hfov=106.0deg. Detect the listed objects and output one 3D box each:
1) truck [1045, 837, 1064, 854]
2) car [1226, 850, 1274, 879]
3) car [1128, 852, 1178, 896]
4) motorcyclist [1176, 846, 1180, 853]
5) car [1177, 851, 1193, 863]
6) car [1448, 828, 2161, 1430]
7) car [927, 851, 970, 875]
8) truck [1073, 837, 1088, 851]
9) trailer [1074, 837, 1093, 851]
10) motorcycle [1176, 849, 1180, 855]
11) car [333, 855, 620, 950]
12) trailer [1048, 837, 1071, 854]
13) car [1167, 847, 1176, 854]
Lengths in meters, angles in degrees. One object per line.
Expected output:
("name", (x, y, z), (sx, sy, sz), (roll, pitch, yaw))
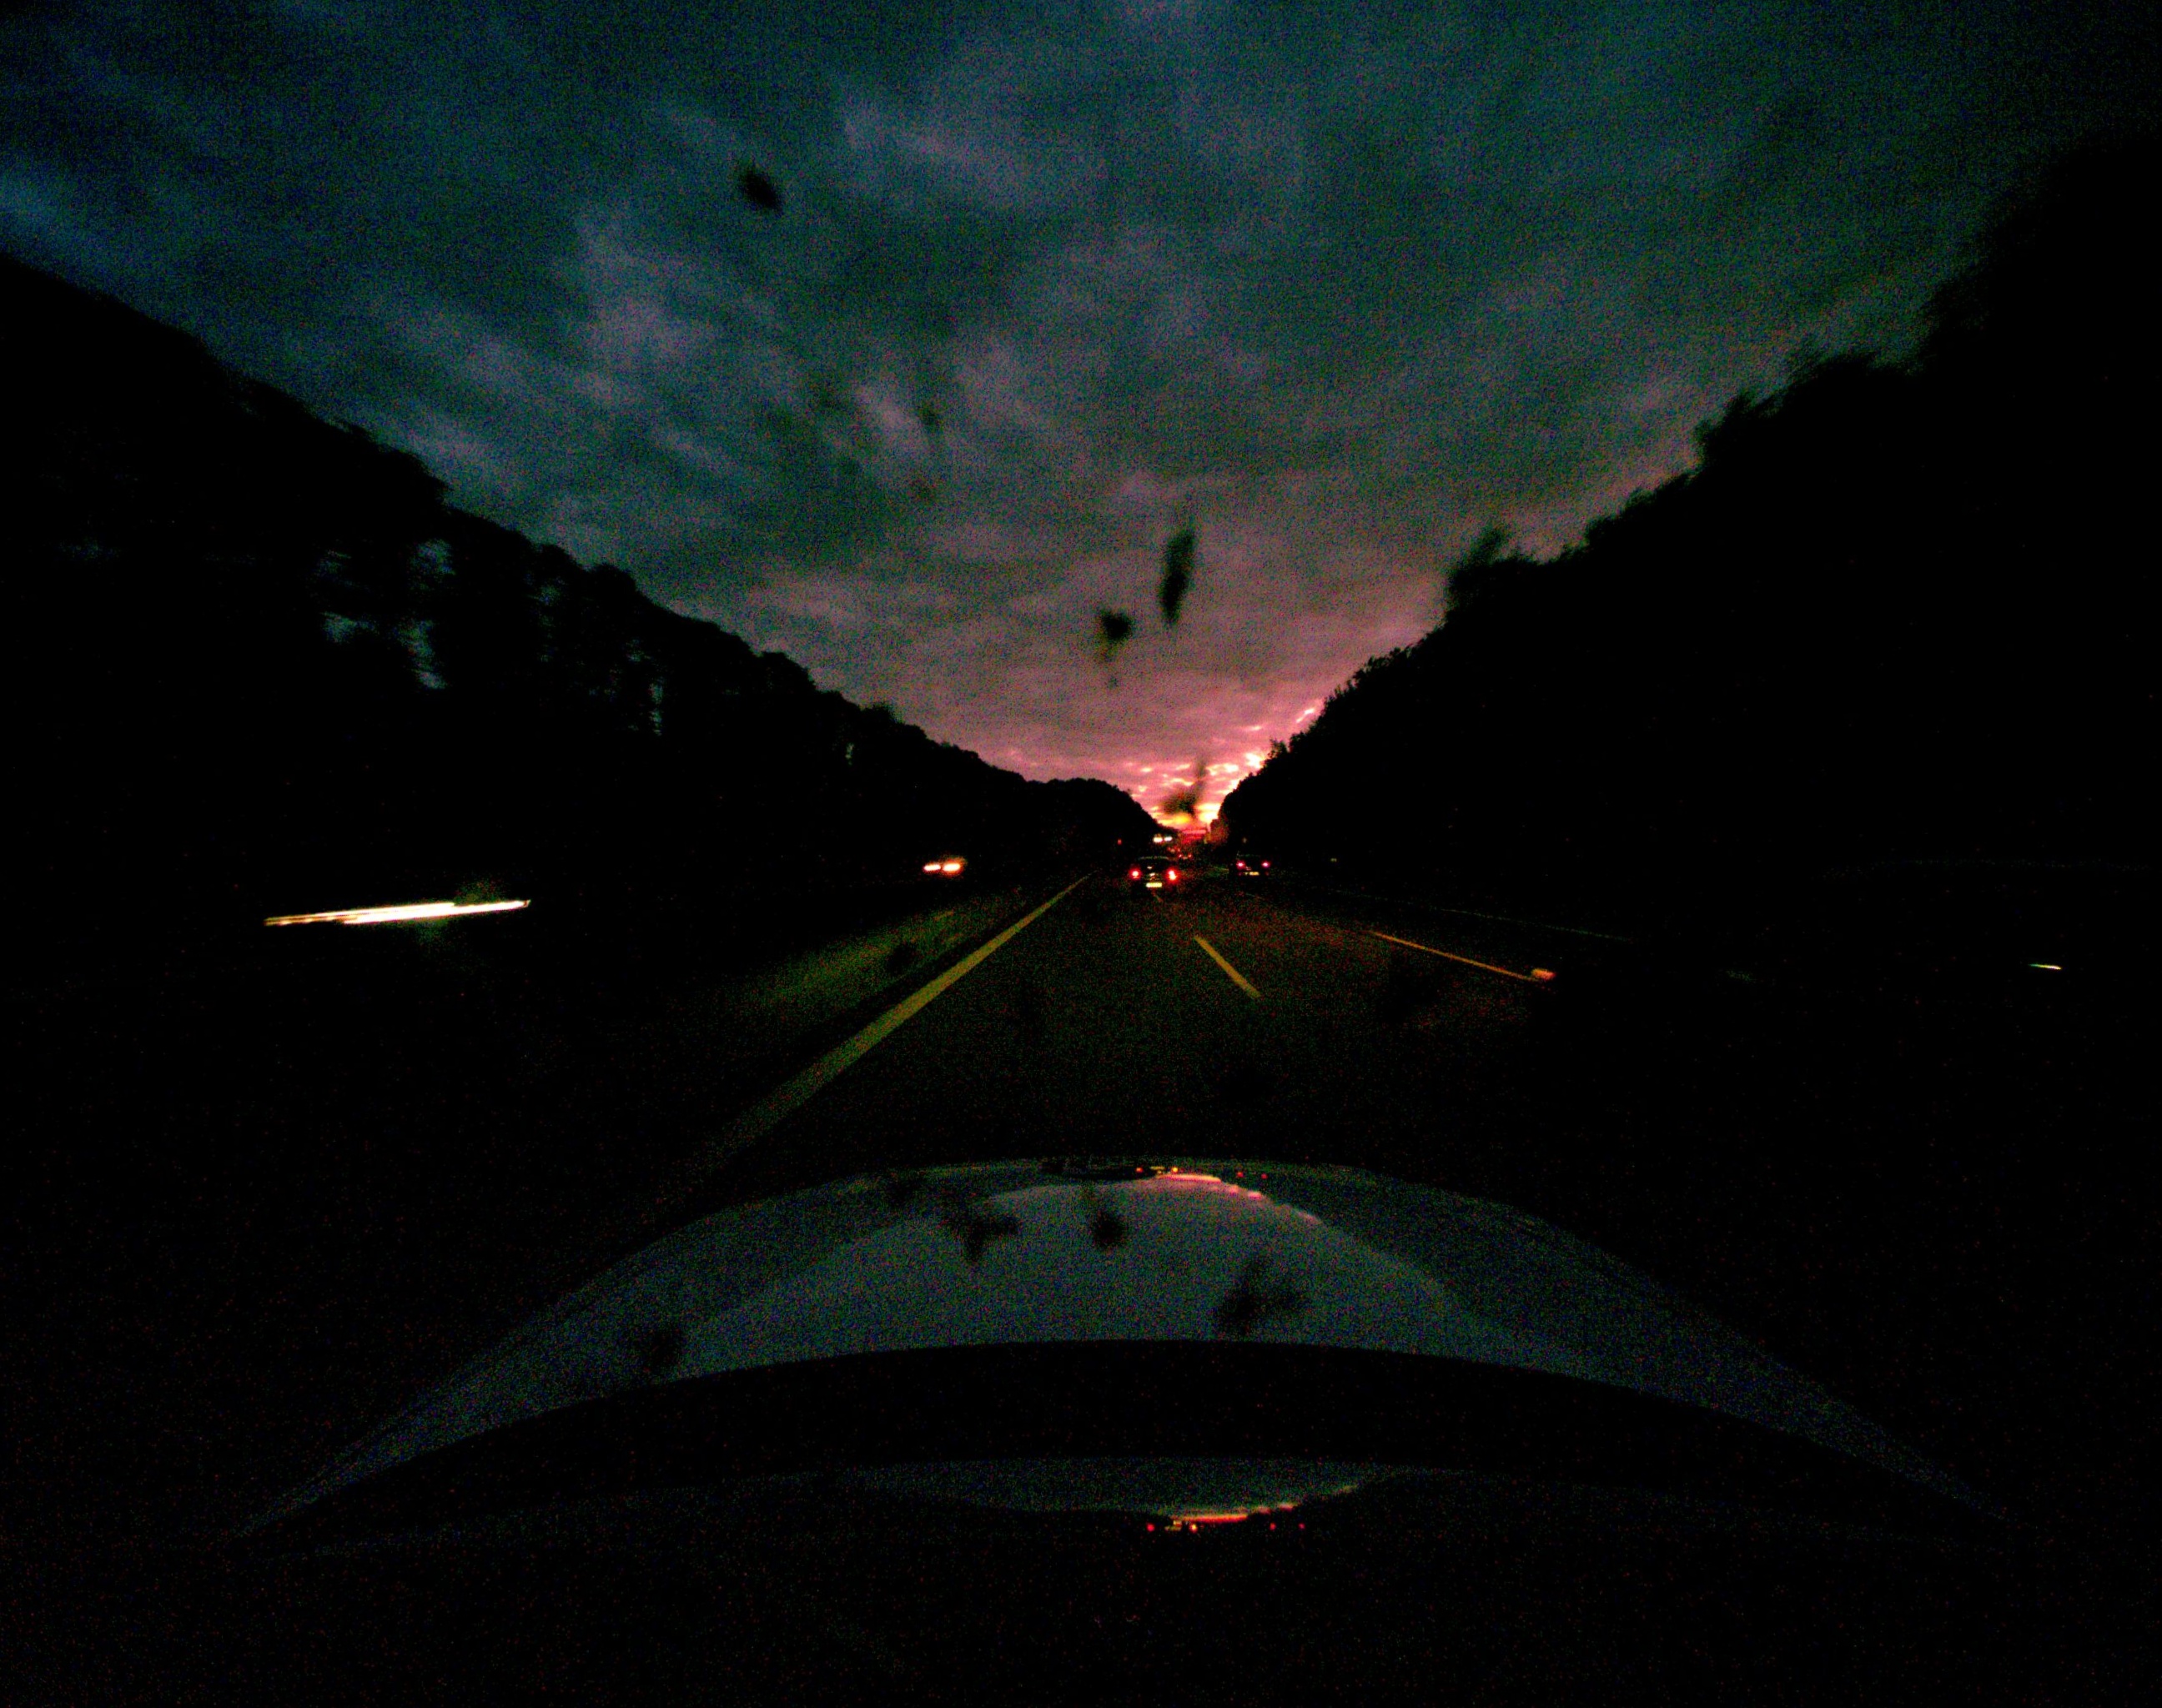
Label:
("truck", (-6.581, -2.111, 204.353), (3.171, 4.104, 7.711), (-1, 1, 10))
("car", (9.106, 0.521, 44.316), (1.858, 1.435, 4.587), (-1, 1, 2))
("car", (2.575, 0.682, 30.031), (1.697, 1.509, 4.235), (0, 0, 3))
("motorcyclist", (20.208, -0.905, 169.831), (0.825, 1.291, 1.193), (-2, 0, 9))
("car", (13.611, 0.405, 106.974), (1.817, 1.475, 4.404), (0, 0, 5))
("car", (3.526, 0.679, 3.520), (1.686, 1.490, 4.949), (0, 0, 0))
("car", (-8.662, 0.578, 53.430), (1.812, 1.479, 4.375), (0, 0, 4))
("truck", (-0.111, -3.050, 244.882), (3.171, 4.104, 7.711), (-1, 1, 10))
("trailer", (0.839, -3.073, 250.419), (3.171, 4.104, 14.223), (-1, 1, 10))
("motorcycle", (20.239, -0.449, 169.899), (0.825, 1.134, 2.482), (-2, 0, 9))
("car", (-10.772, 0.773, 15.018), (1.812, 1.479, 4.375), (0, 0, 4))
("trailer", (-5.536, -2.250, 210.694), (3.172, 4.104, 13.777), (-1, 1, 9))
("car", (20.861, -0.843, 187.434), (1.856, 1.494, 4.404), (0, 0, 5))
